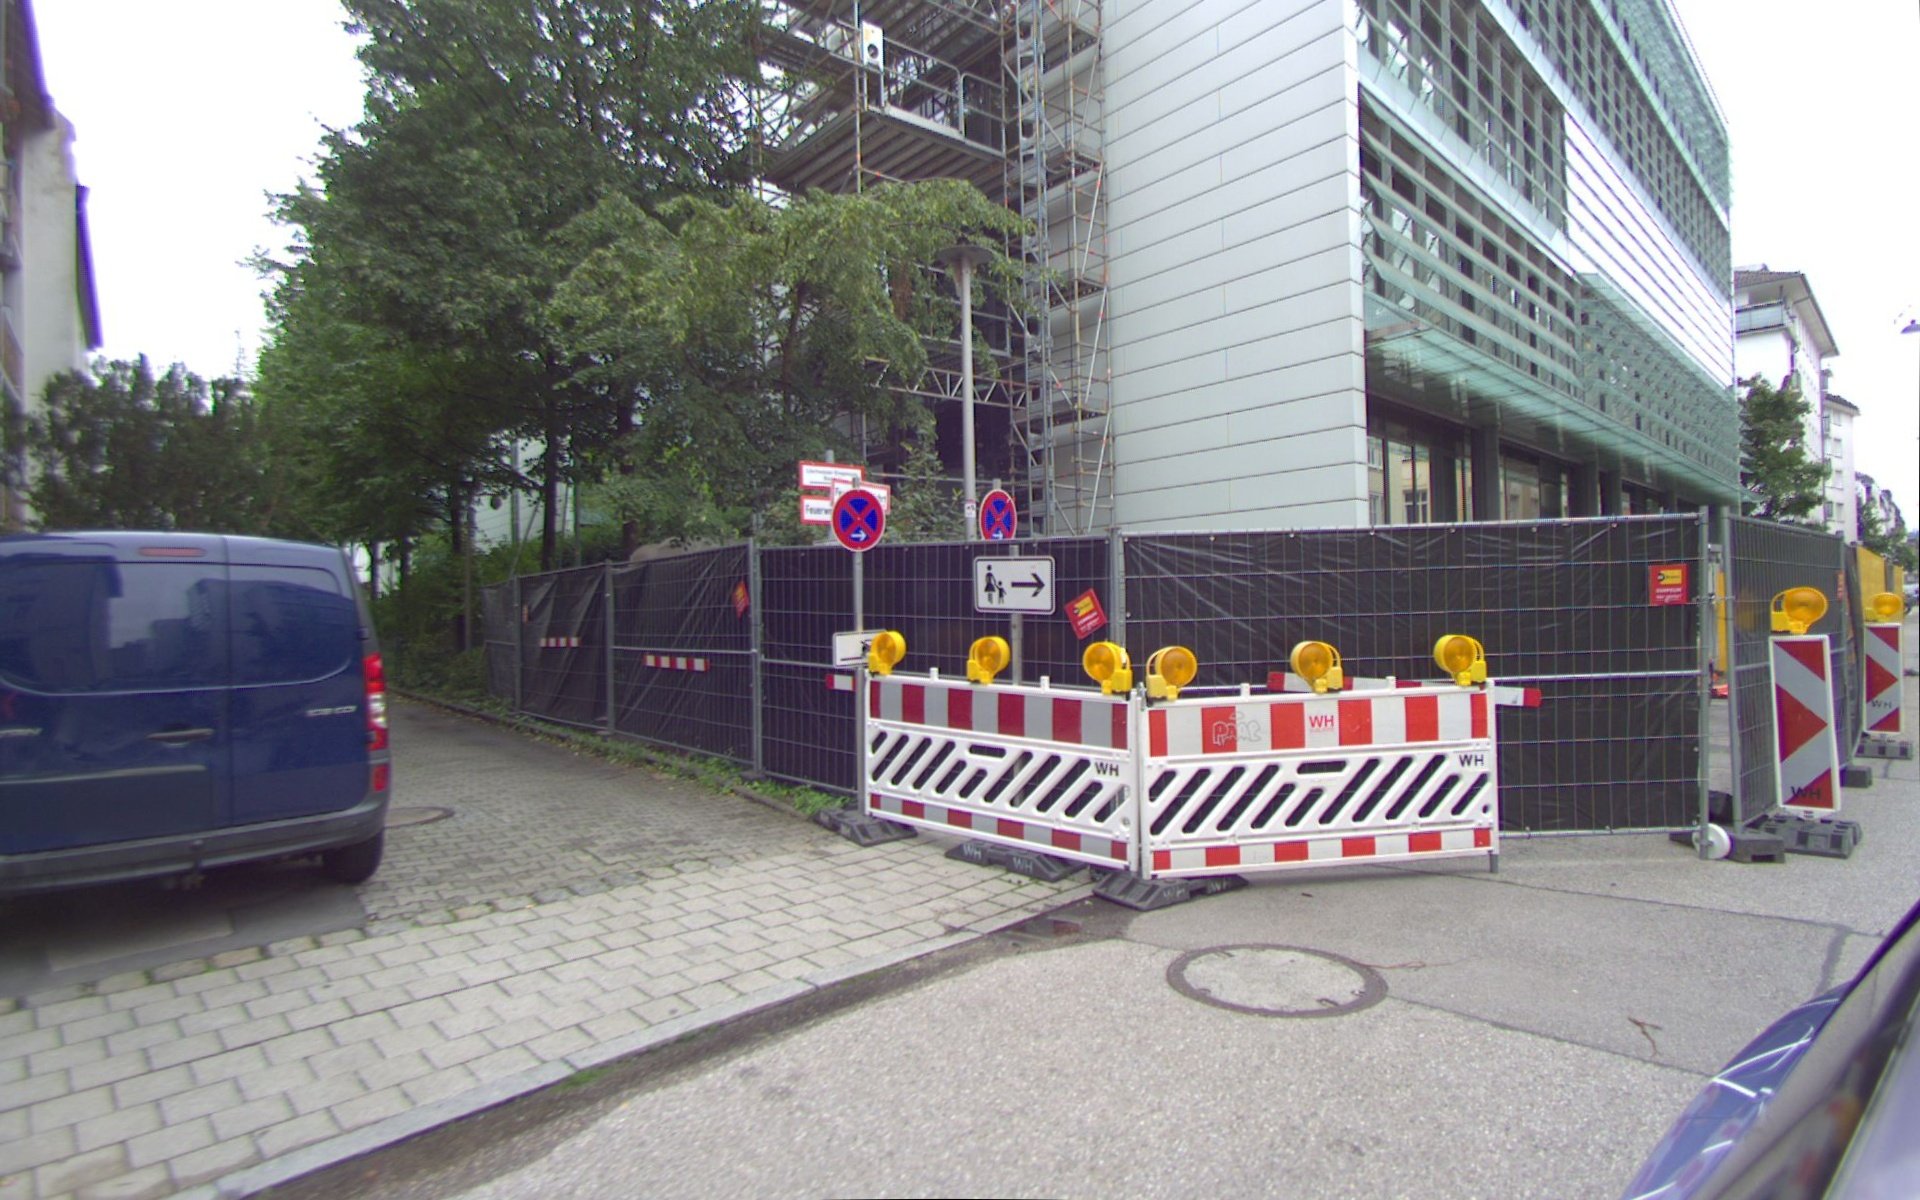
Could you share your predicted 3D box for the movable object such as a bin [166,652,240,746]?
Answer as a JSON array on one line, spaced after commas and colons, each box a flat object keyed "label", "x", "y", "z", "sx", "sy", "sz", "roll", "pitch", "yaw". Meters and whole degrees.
[{"label": "movable object such as a bin", "x": -8.875, "y": 1.139, "z": 11.859, "sx": 0.609, "sy": 1.026, "sz": 0.678, "roll": 0, "pitch": -3, "yaw": -45}]

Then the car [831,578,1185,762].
[{"label": "car", "x": 0.404, "y": 0.705, "z": 11.284, "sx": 1.746, "sy": 1.700, "sz": 3.737, "roll": -1, "pitch": -2, "yaw": -44}]

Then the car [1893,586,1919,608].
[{"label": "car", "x": 57.748, "y": -0.217, "z": 61.297, "sx": 1.621, "sy": 1.282, "sz": 4.260, "roll": -2, "pitch": -1, "yaw": 44}]

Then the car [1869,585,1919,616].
[{"label": "car", "x": 45.872, "y": 0.011, "z": 49.575, "sx": 1.805, "sy": 1.416, "sz": 3.936, "roll": -2, "pitch": -1, "yaw": 44}]

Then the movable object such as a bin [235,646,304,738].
[{"label": "movable object such as a bin", "x": -8.505, "y": 1.120, "z": 12.461, "sx": 0.609, "sy": 1.067, "sz": 0.533, "roll": 0, "pitch": -3, "yaw": -45}]

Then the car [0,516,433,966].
[{"label": "car", "x": -4.819, "y": 0.560, "z": 5.977, "sx": 1.811, "sy": 1.742, "sz": 4.463, "roll": 0, "pitch": 0, "yaw": -45}]

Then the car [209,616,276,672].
[{"label": "car", "x": -25.667, "y": 1.564, "z": 36.161, "sx": 1.701, "sy": 1.854, "sz": 3.994, "roll": -1, "pitch": -2, "yaw": -39}]

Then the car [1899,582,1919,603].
[{"label": "car", "x": 73.092, "y": -0.586, "z": 77.377, "sx": 1.789, "sy": 1.579, "sz": 3.936, "roll": -2, "pitch": -1, "yaw": 44}]
